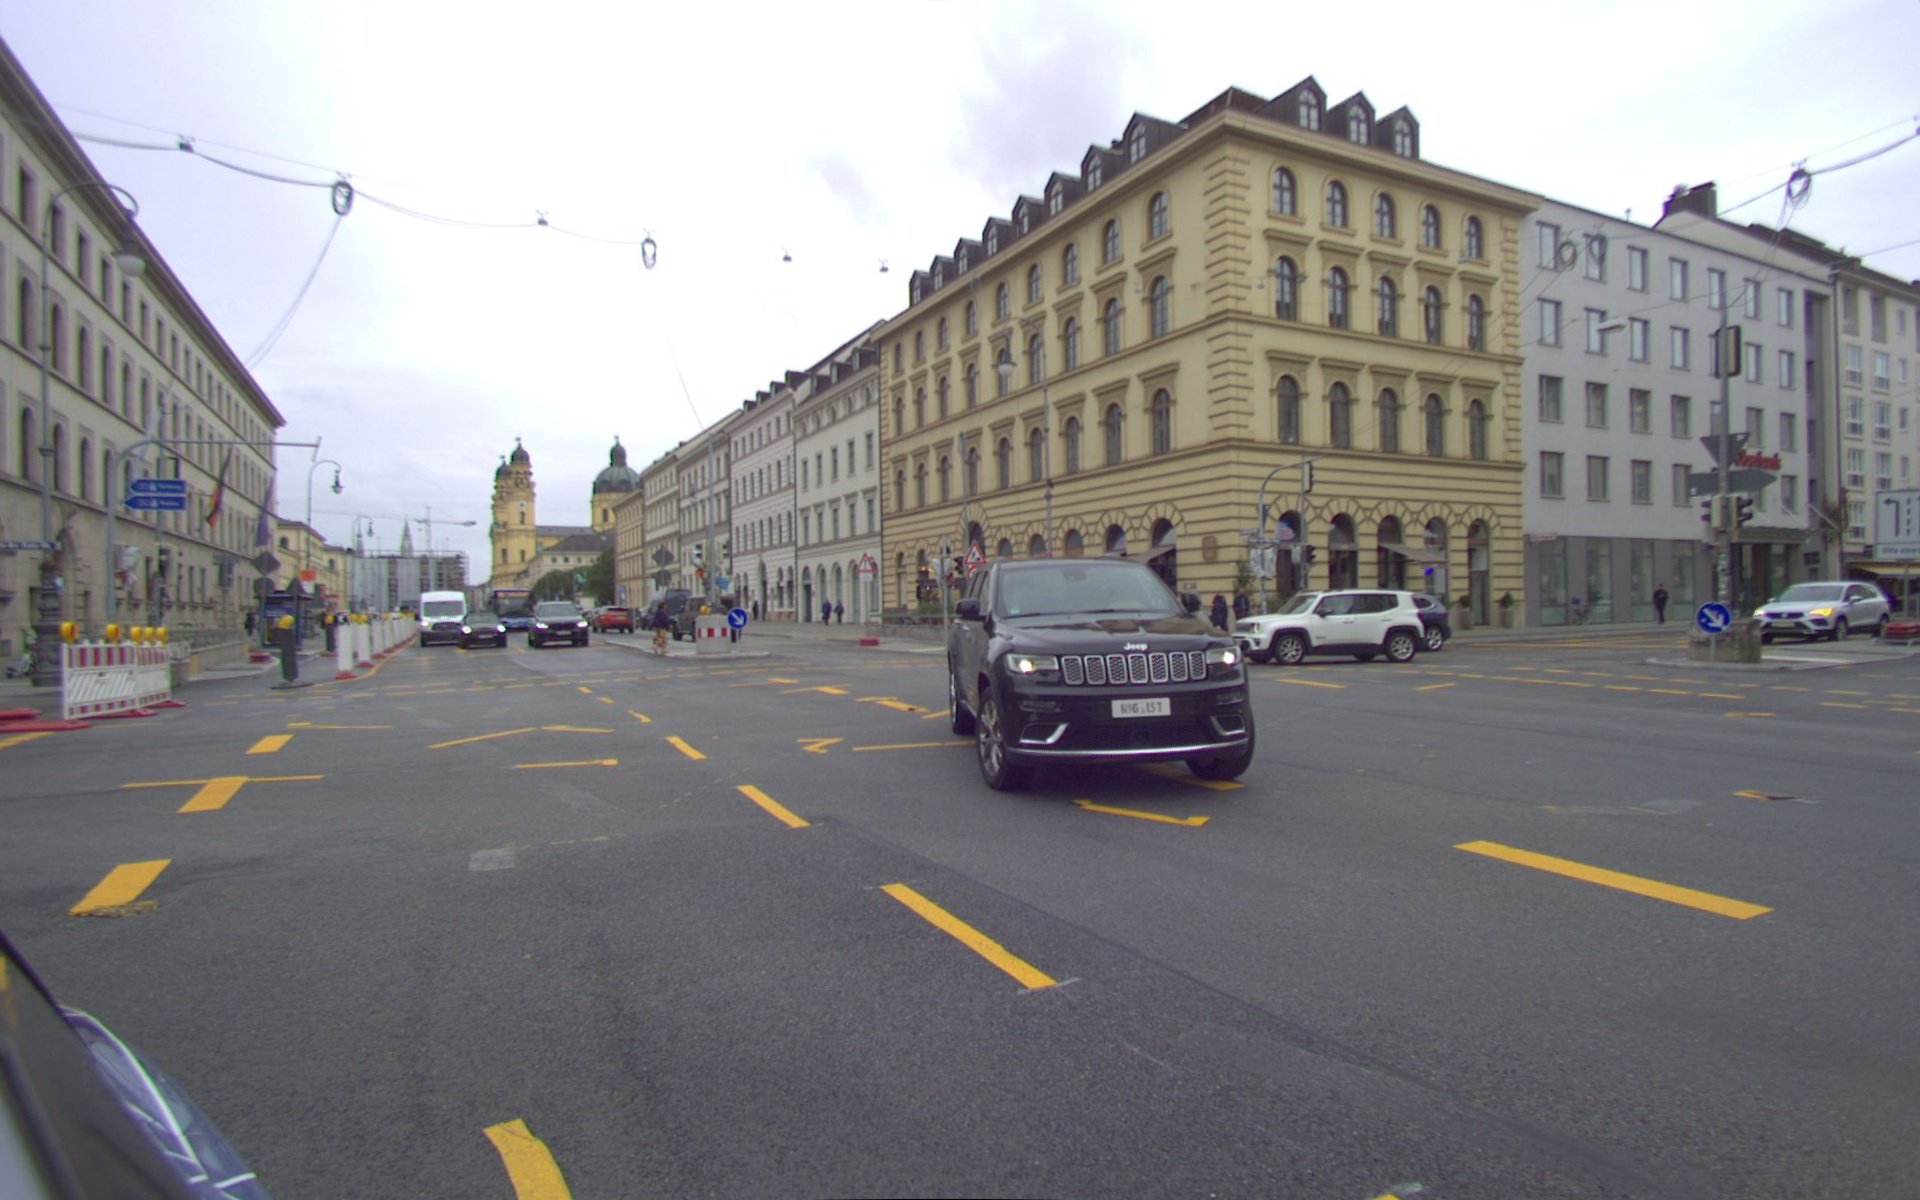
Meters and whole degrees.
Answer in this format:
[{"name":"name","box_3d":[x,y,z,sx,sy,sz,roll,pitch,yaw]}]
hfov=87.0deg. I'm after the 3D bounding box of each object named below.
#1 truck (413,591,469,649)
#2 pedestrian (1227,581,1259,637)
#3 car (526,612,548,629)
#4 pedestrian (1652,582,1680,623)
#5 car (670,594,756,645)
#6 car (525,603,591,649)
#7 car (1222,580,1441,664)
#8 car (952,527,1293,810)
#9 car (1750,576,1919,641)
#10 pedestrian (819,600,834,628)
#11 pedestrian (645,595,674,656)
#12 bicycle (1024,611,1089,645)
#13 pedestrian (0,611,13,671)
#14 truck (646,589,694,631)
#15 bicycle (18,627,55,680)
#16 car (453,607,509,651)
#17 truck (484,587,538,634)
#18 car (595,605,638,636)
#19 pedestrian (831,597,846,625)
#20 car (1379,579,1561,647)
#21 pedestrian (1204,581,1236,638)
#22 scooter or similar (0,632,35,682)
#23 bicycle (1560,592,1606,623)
[{"name":"truck","box_3d":[-24.291,0.883,47.247,2.080,2.499,5.878,-1,0,-29]},{"name":"pedestrian","box_3d":[9.048,0.280,32.359,0.727,1.785,0.737,-1,1,-7]},{"name":"car","box_3d":[-45.269,2.146,108.256,1.792,1.733,4.013,-1,0,-27]},{"name":"pedestrian","box_3d":[30.971,0.100,44.396,0.723,1.785,0.741,-1,1,-29]},{"name":"car","box_3d":[-10.667,0.808,43.457,2.207,2.029,4.462,-1,0,-32]},{"name":"car","box_3d":[-15.847,0.988,39.787,1.966,1.696,4.013,-1,0,-28]},{"name":"car","box_3d":[8.257,0.472,22.701,4.168,1.690,1.801,-1,0,-5]},{"name":"car","box_3d":[1.021,0.440,8.736,1.972,1.748,4.588,-1,0,-2]},{"name":"car","box_3d":[22.769,0.191,26.329,4.160,1.535,2.006,-1,0,-29]},{"name":"pedestrian","box_3d":[-8.569,0.890,65.072,0.726,1.785,0.738,-1,0,-28]},{"name":"pedestrian","box_3d":[-9.027,0.744,30.385,0.723,1.785,0.741,-1,1,-25]},{"name":"bicycle","box_3d":[3.239,0.944,34.237,2.196,1.107,0.592,-1,-1,38]},{"name":"pedestrian","box_3d":[-26.986,1.130,28.121,0.726,1.667,0.729,2,-1,-26]},{"name":"truck","box_3d":[-19.527,0.694,67.994,2.184,2.683,4.798,-1,0,-28]},{"name":"bicycle","box_3d":[-23.880,1.364,26.194,0.375,1.252,1.995,-1,1,-33]},{"name":"car","box_3d":[-19.677,1.153,41.483,1.770,1.606,4.013,-1,1,-29]},{"name":"truck","box_3d":[-30.922,0.628,69.605,2.940,3.036,7.167,-1,1,-27]},{"name":"car","box_3d":[-20.738,1.220,60.950,1.792,1.733,4.013,-1,0,-28]},{"name":"pedestrian","box_3d":[-7.858,0.682,65.471,0.726,1.785,0.738,-1,0,-28]},{"name":"car","box_3d":[14.052,0.348,28.015,4.167,1.690,1.742,-1,0,-6]},{"name":"pedestrian","box_3d":[8.278,0.303,32.267,0.749,1.785,0.737,-1,1,-7]},{"name":"scooter or similar","box_3d":[-24.263,1.438,26.021,0.375,1.153,1.995,-1,1,-33]},{"name":"bicycle","box_3d":[26.780,0.306,43.473,2.161,1.252,0.602,-1,1,-26]}]
